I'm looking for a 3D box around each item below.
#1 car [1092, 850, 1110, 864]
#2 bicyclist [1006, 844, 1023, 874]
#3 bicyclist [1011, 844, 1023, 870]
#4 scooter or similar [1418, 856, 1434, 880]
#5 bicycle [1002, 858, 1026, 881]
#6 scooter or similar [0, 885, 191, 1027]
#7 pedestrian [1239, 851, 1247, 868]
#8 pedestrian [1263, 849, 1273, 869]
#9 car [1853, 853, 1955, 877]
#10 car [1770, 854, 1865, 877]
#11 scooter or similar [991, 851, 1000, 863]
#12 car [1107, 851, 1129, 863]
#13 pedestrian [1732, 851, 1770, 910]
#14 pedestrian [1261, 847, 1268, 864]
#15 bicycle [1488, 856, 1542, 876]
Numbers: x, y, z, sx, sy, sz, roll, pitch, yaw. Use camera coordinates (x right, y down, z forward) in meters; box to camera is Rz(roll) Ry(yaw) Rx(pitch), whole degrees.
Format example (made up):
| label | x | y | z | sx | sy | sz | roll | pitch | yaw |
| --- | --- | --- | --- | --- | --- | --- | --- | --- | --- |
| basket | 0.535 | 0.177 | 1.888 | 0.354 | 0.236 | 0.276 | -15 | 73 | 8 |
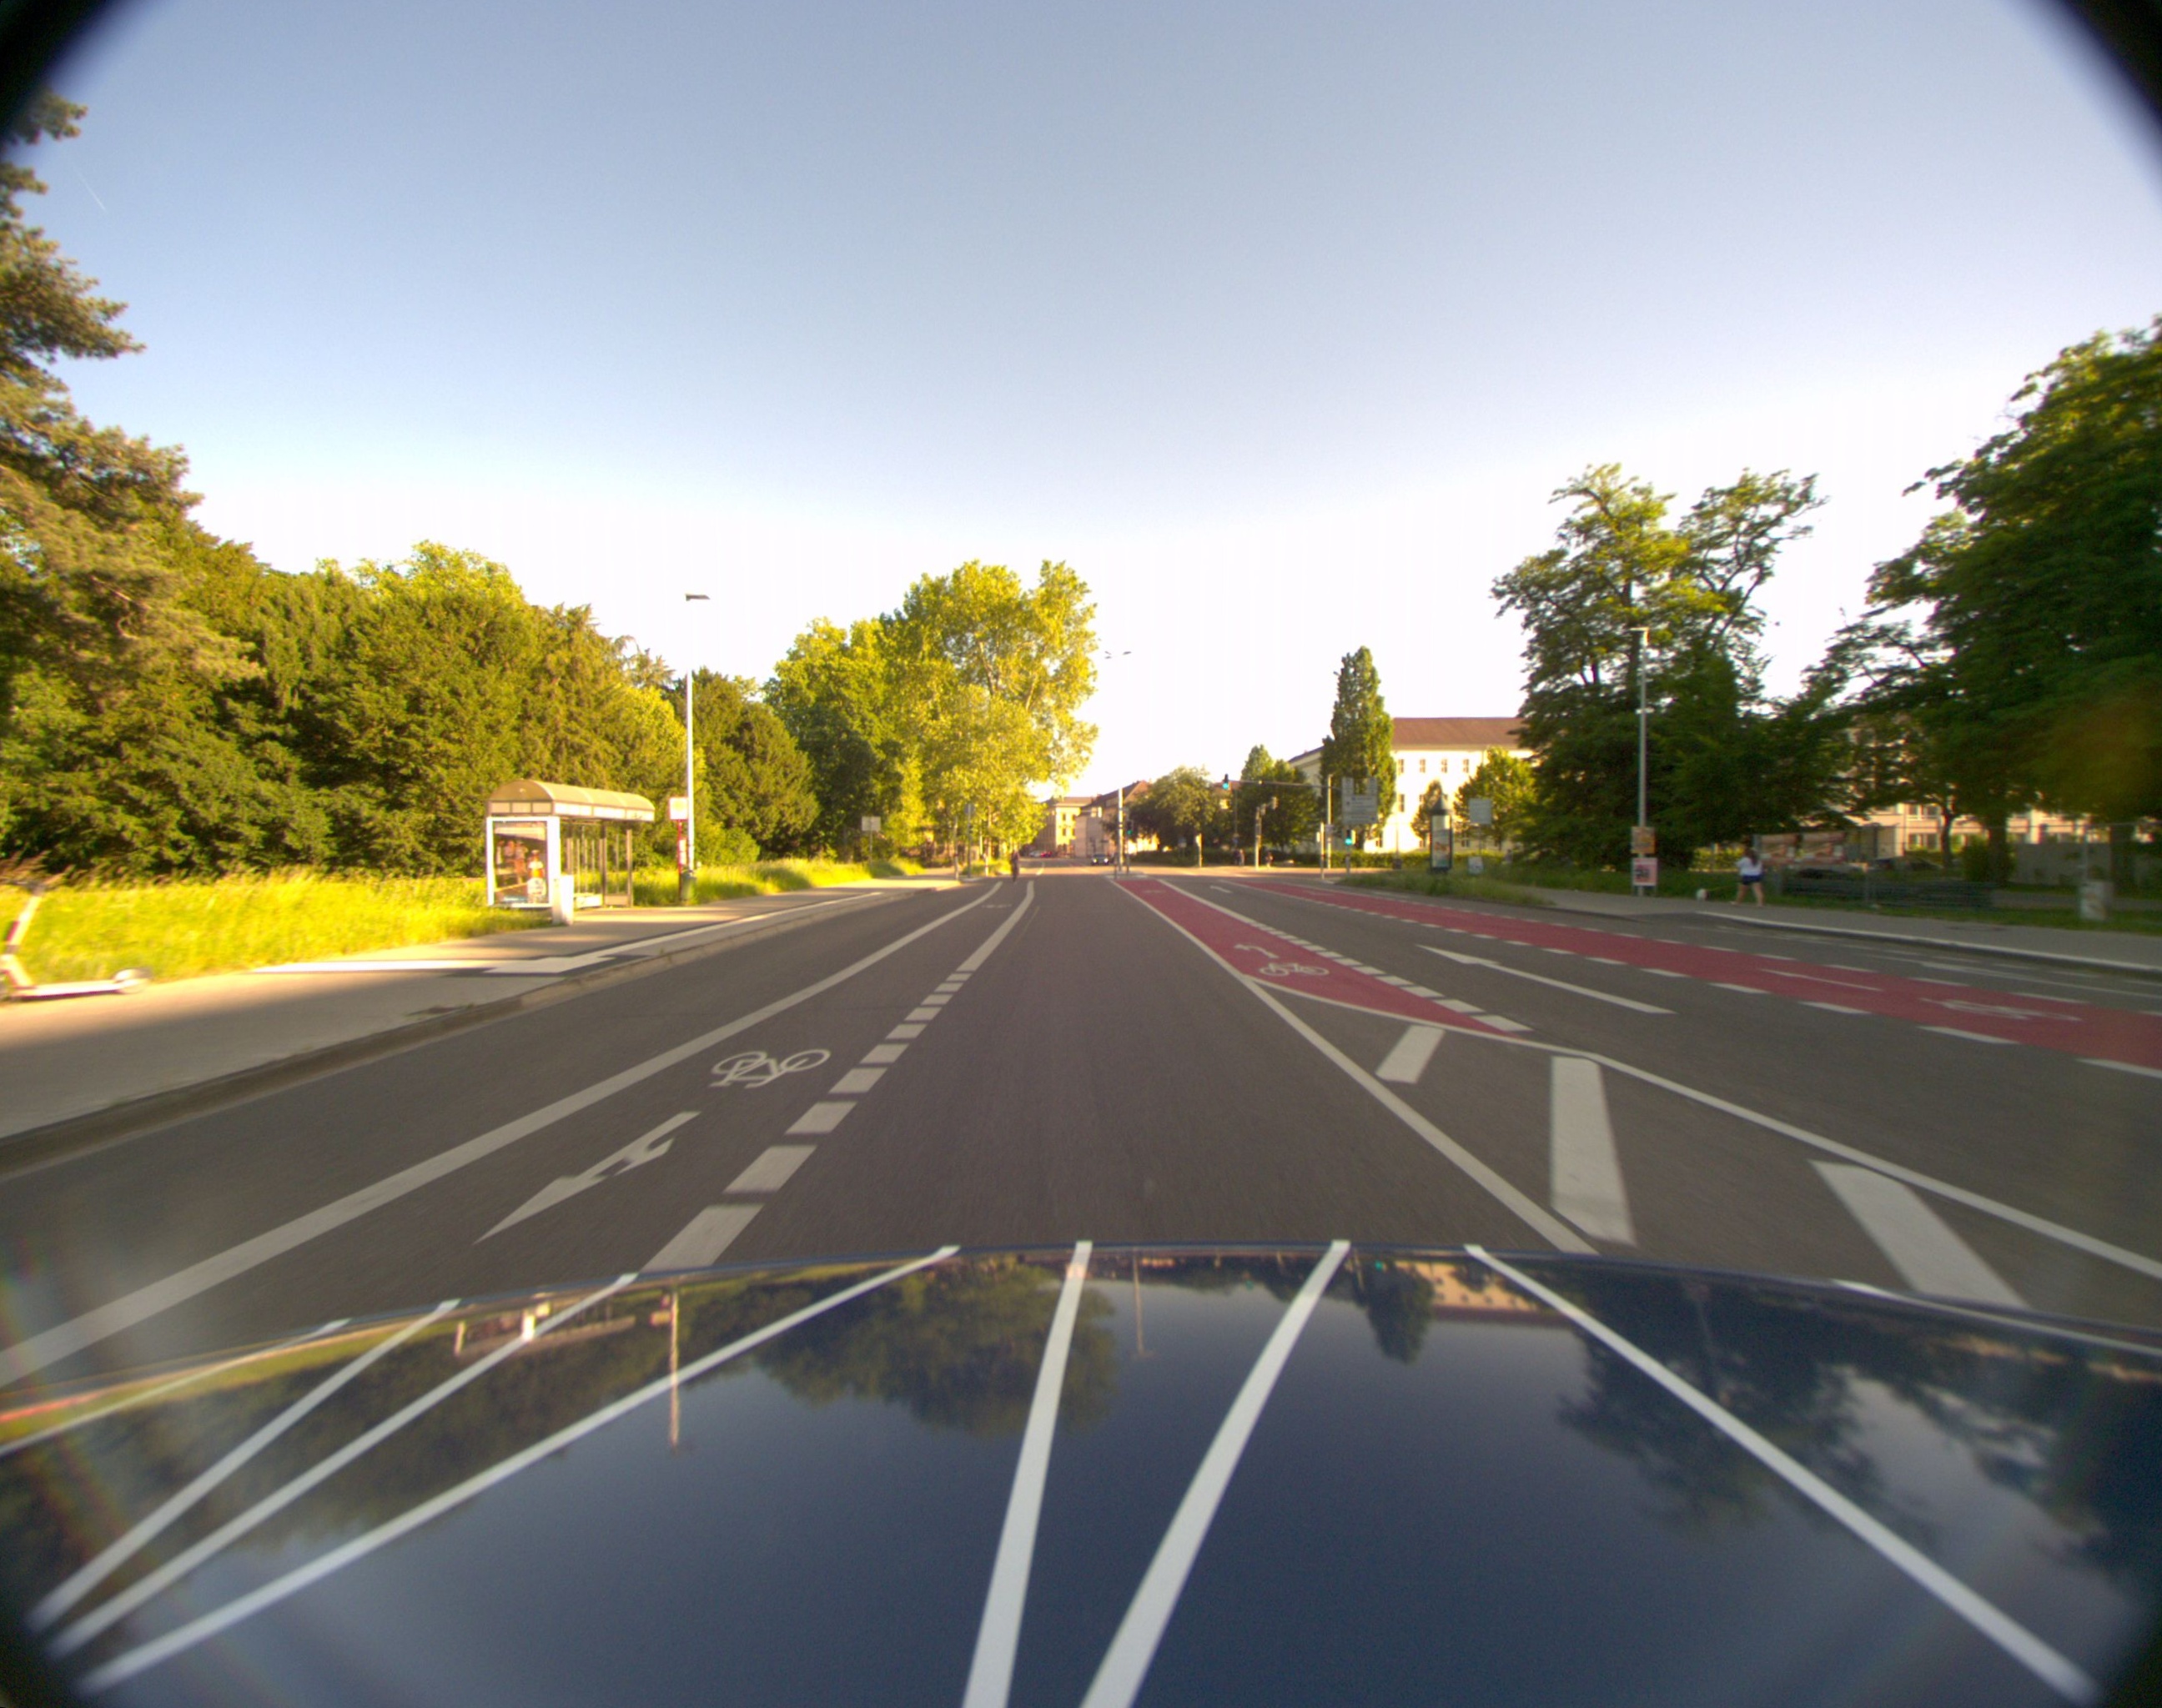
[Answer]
| label | x | y | z | sx | sy | sz | roll | pitch | yaw |
| --- | --- | --- | --- | --- | --- | --- | --- | --- | --- |
| car | 2.148 | 0.298 | 83.169 | 1.722 | 1.409 | 4.525 | 0 | 1 | -2 |
| bicyclist | -3.345 | 0.252 | 38.452 | 0.694 | 1.482 | 0.801 | 0 | 1 | 9 |
| bicyclist | -3.651 | 0.160 | 43.544 | 0.695 | 1.493 | 0.892 | 0 | 1 | -5 |
| scooter or similar | 19.049 | 0.739 | 41.905 | 0.693 | 1.286 | 1.499 | 1 | 1 | 28 |
| bicycle | -3.362 | 0.771 | 38.424 | 0.694 | 1.089 | 2.137 | 0 | 1 | 9 |
| scooter or similar | -10.038 | 0.962 | 7.580 | 0.722 | 1.240 | 1.330 | 0 | 1 | 21 |
| pedestrian | 15.765 | 0.510 | 74.045 | 0.691 | 1.672 | 0.681 | 0 | 1 | 7 |
| pedestrian | 17.102 | 0.451 | 69.427 | 0.744 | 1.805 | 0.727 | 0 | 1 | 7 |
| car | 55.604 | 0.723 | 51.432 | 4.253 | 1.530 | 2.238 | 0 | 1 | 6 |
| car | 50.017 | 0.745 | 51.708 | 4.253 | 1.530 | 2.070 | 0 | 1 | 6 |
| scooter or similar | -9.211 | 0.306 | 81.743 | 0.794 | 1.248 | 1.836 | 4 | 0 | -2 |
| car | 4.949 | 0.344 | 101.590 | 1.717 | 1.413 | 4.548 | 4 | 1 | -13 |
| pedestrian | 17.424 | 0.679 | 19.775 | 0.452 | 1.525 | 0.571 | 0 | 1 | -6 |
| pedestrian | 18.761 | 0.155 | 77.707 | 0.691 | 1.805 | 0.681 | 0 | 1 | 7 |
| bicycle | 25.171 | 0.695 | 44.096 | 2.576 | 1.129 | 0.980 | 0 | 1 | 3 |
